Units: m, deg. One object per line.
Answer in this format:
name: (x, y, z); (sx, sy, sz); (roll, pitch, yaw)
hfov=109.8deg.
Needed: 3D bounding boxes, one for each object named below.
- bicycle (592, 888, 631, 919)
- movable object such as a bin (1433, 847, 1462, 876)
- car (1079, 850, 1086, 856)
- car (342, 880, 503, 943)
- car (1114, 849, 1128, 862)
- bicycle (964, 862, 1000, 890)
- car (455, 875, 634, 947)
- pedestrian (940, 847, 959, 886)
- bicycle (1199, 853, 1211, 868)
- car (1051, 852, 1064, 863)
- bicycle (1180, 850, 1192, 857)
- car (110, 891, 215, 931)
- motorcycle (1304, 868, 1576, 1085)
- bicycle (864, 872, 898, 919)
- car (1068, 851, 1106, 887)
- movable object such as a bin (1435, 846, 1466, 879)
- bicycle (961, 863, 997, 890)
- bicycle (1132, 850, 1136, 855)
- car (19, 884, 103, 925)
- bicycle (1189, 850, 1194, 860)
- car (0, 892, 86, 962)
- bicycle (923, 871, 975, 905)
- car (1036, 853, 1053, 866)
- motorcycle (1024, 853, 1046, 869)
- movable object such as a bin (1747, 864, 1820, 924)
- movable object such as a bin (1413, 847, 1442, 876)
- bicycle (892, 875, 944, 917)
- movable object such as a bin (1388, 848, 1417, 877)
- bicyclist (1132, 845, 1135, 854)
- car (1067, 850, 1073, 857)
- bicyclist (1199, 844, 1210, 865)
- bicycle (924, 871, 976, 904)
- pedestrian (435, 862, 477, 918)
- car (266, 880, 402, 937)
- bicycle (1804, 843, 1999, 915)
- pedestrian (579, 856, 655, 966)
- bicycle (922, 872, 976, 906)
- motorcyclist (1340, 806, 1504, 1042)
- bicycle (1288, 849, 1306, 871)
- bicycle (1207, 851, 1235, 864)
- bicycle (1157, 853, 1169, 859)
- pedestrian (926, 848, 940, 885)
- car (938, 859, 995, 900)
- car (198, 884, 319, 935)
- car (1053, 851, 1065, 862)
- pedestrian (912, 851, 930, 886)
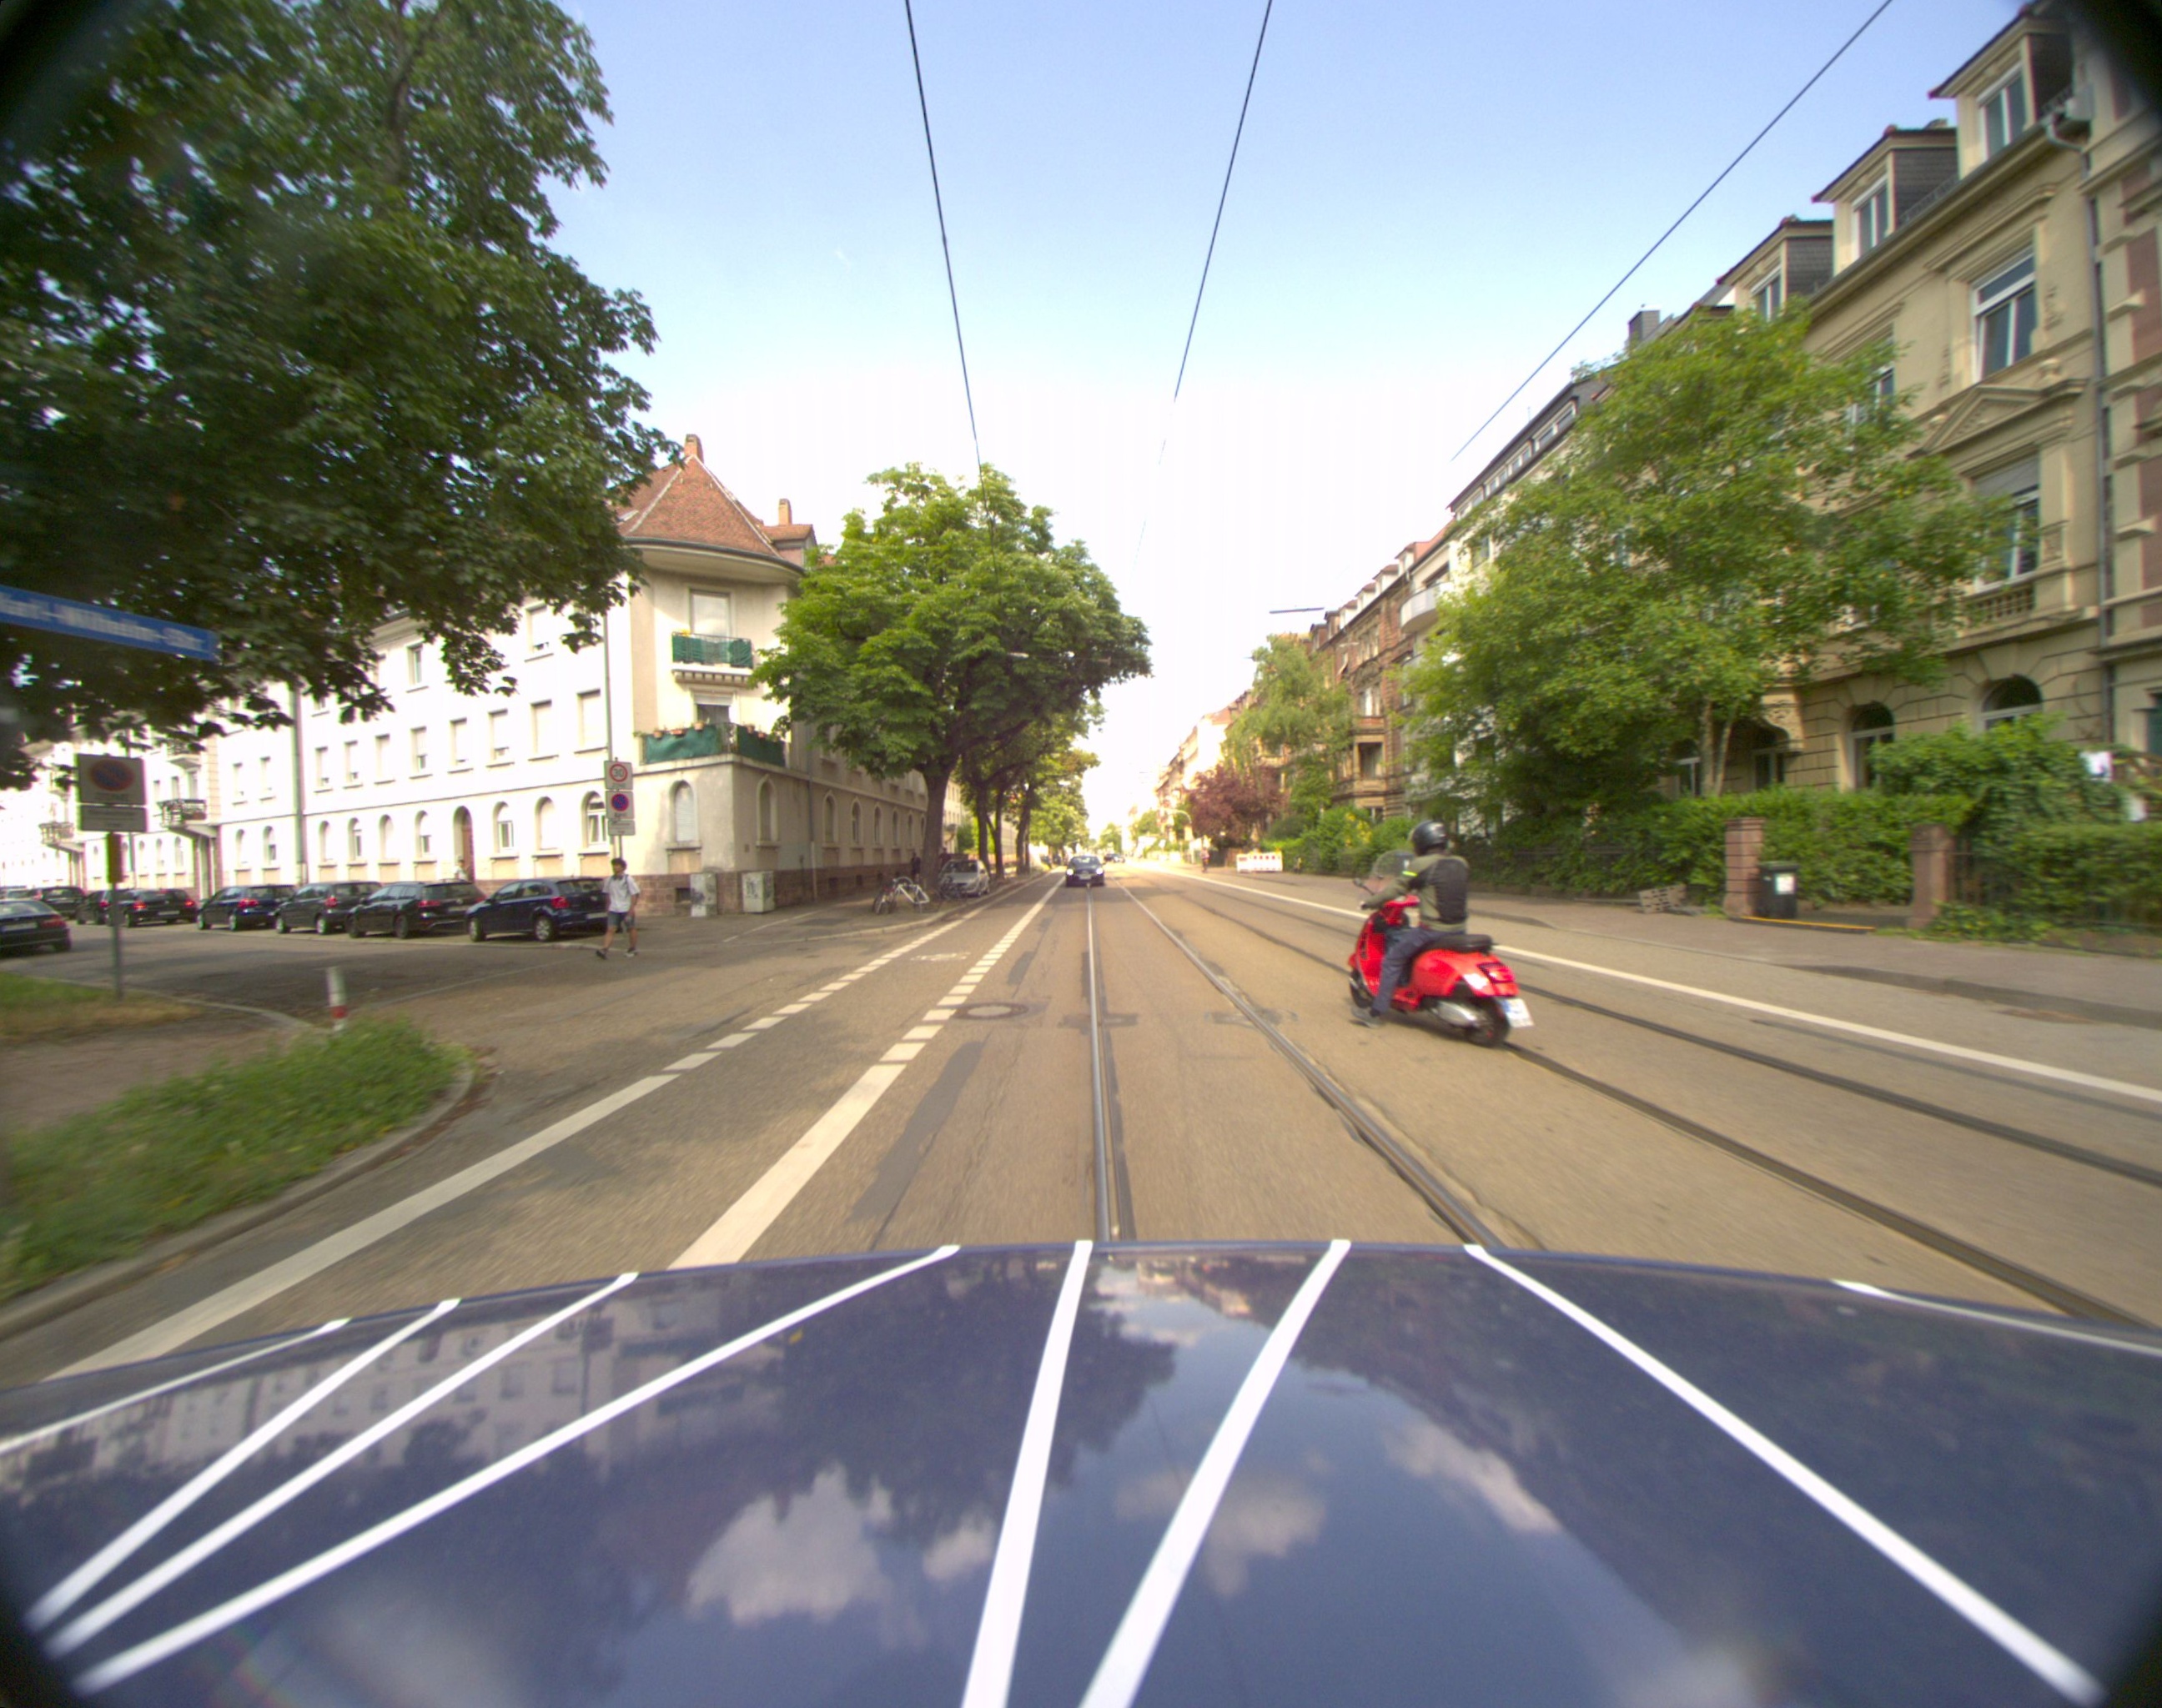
bicycle: (-13.101, 1.384, 21.204); (1.204, 0.839, 0.347); (-2, 1, 28)
movable object such as a bin: (14.301, 0.272, 29.671); (0.774, 1.101, 0.733); (-2, 1, 0)
car: (0.470, -0.300, 193.514); (1.693, 1.380, 3.999); (-2, 0, 0)
car: (-17.542, 1.473, 20.222); (4.246, 1.443, 1.734); (-2, 1, 28)
car: (5.661, 0.198, 107.440); (1.715, 1.718, 3.735); (-3, 1, 0)
bicycle: (-4.475, 0.992, 34.292); (1.490, 1.214, 0.518); (-2, 2, 7)
car: (-12.413, 1.280, 17.588); (3.566, 1.443, 1.734); (-2, 1, 24)
pedestrian: (-6.597, 0.615, 38.169); (0.755, 1.878, 0.886); (-2, 1, 0)
bicycle: (8.253, 0.410, 50.601); (0.570, 0.984, 1.918); (-2, 0, 3)
car: (-3.272, 0.435, 105.014); (1.693, 1.380, 3.999); (-2, 0, 0)
bicycle: (15.789, -0.069, 114.451); (1.753, 0.936, 0.483); (0, 1, -1)
car: (-35.319, 2.145, 29.205); (3.922, 1.344, 1.734); (-2, 1, 28)
motorcycle: (2.700, 0.821, 6.052); (0.742, 1.352, 2.085); (-2, 1, -16)
bicycle: (-5.341, 1.087, 20.360); (0.586, 1.151, 1.835); (-2, 1, -7)
car: (0.307, 0.653, 36.243); (1.693, 1.568, 4.156); (-2, 0, 1)
movable object such as a bin: (12.715, 0.302, 26.137); (0.669, 1.101, 0.733); (-2, 1, -3)
bicycle: (-4.684, 1.034, 34.881); (1.490, 1.146, 0.518); (-2, 1, 7)
bicycle: (9.291, -0.274, 134.070); (0.483, 0.936, 1.754); (0, 1, -3)
car: (-48.484, 2.373, 36.103); (3.922, 1.725, 1.734); (-2, 1, 28)
bicycle: (11.774, 0.107, 81.132); (0.400, 0.935, 1.473); (0, -2, 3)
car: (-26.782, 1.797, 18.878); (3.922, 1.503, 1.733); (-2, 4, 28)
bicycle: (-4.409, 1.146, 25.383); (1.650, 1.064, 0.348); (-2, 1, 4)
car: (-4.043, 0.601, 85.248); (1.693, 1.380, 3.999); (-2, 0, 0)
motorcycle: (-4.269, 0.663, 69.998); (0.812, 1.485, 2.065); (-2, 1, -43)
movable object such as a bin: (11.355, 0.639, 12.293); (0.580, 0.919, 0.641); (-2, 1, 1)
movable object such as a bin: (13.520, 0.297, 29.671); (0.774, 1.101, 0.733); (-2, 1, 0)
bicycle: (-4.381, 1.124, 20.467); (1.271, 1.060, 0.478); (-2, 1, 0)
movable object such as a bin: (12.560, 0.334, 29.682); (0.774, 1.101, 0.733); (-2, 1, 0)
bicyclist: (9.288, -0.797, 134.127); (0.477, 1.490, 0.742); (0, 1, -2)
car: (-3.070, -0.107, 210.417); (1.694, 1.831, 5.028); (-2, 0, -2)
bicyclist: (8.239, 0.027, 50.626); (0.566, 1.417, 0.942); (-2, 1, 3)
bicycle: (-4.420, 1.132, 25.723); (1.650, 1.064, 0.348); (-2, 1, 4)
pedestrian: (-20.868, 1.195, 25.380); (0.729, 1.823, 0.829); (-2, 1, 31)
car: (-22.522, 1.605, 22.895); (3.922, 1.503, 1.734); (-2, 1, 28)
bicycle: (13.525, 0.410, 12.553); (2.622, 0.988, 0.481); (-4, 1, 1)
pedestrian: (-8.055, 0.959, 13.234); (0.619, 1.823, 1.030); (-2, 1, -1)
bicycle: (-4.343, 1.150, 25.016); (1.650, 1.064, 0.348); (-2, 1, 4)
motorcyclist: (2.685, 0.505, 6.066); (0.742, 1.704, 0.920); (-2, 1, -16)
bicycle: (11.388, 0.291, 40.134); (0.413, 1.130, 1.819); (-2, 0, 0)
bicycle: (11.121, 0.274, 60.300); (2.133, 0.931, 0.586); (-2, 1, 0)
bicycle: (12.295, 0.266, 114.030); (1.750, 0.936, 0.484); (0, 1, 24)
pedestrian: (-7.415, 0.623, 38.151); (0.506, 1.842, 0.687); (-2, 1, 0)
car: (-4.466, 0.946, 30.042); (1.589, 1.436, 3.898); (-2, 0, 0)
car: (-27.645, 1.835, 25.522); (3.922, 1.503, 1.734); (-2, 1, 28)
car: (-3.305, 0.391, 115.017); (1.693, 1.537, 3.617); (-2, 0, 0)
pedestrian: (-7.703, 0.692, 36.519); (0.582, 1.630, 0.976); (-2, 1, 0)
